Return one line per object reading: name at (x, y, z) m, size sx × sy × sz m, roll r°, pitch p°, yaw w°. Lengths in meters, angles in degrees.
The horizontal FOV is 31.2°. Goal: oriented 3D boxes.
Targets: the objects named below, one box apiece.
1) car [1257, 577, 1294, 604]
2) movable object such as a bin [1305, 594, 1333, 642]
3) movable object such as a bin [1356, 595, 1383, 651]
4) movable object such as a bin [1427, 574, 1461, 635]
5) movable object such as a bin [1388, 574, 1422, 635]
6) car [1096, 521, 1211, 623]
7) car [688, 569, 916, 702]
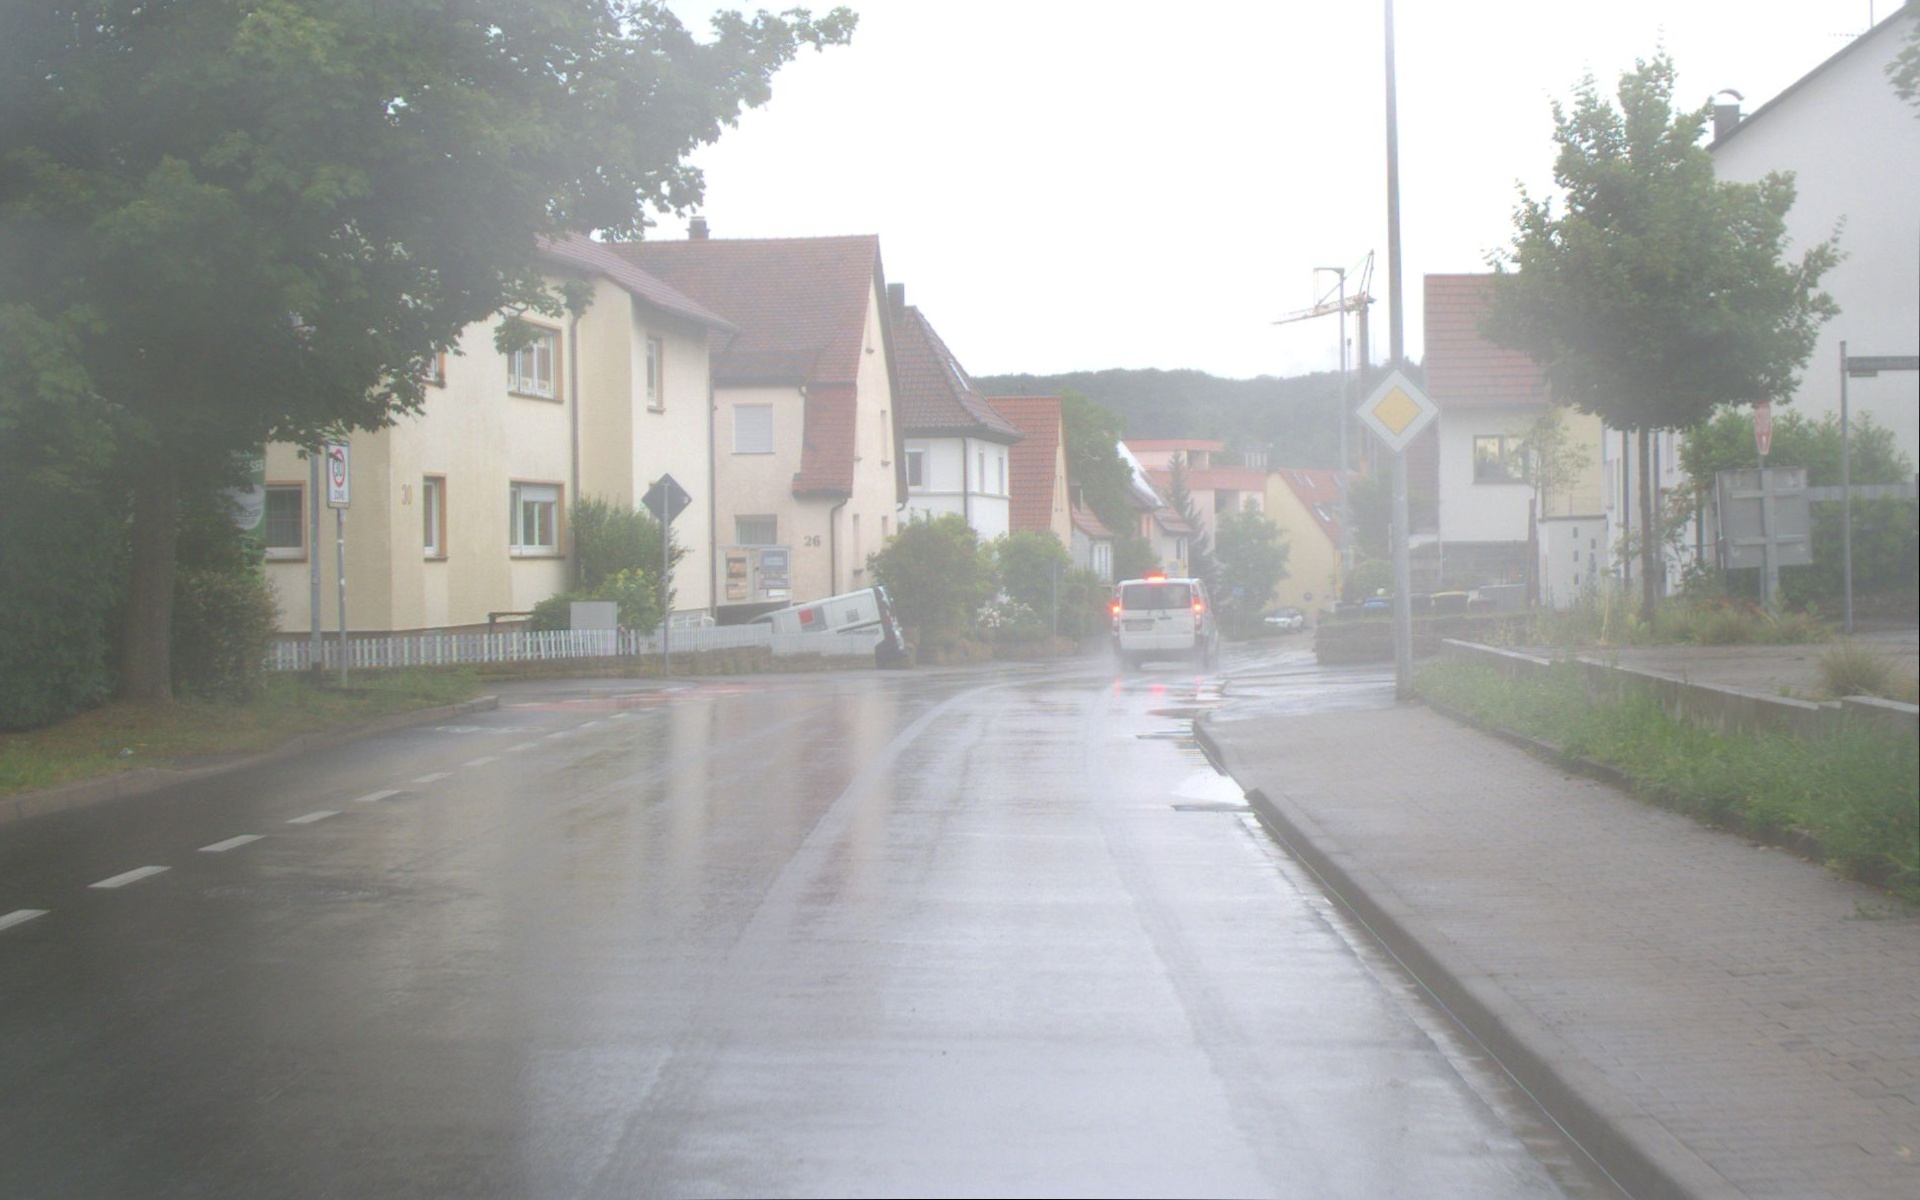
car at (20.141, -0.608, 219.308) m, size 1.843 × 1.573 × 4.287 m, roll 1°, pitch 2°, yaw 12°
movable object such as a bin at (9.955, 0.491, 95.315) m, size 0.745 × 1.274 × 0.882 m, roll -1°, pitch 2°, yaw 8°
movable object such as a bin at (7.098, 0.394, 59.591) m, size 0.425 × 0.937 × 0.508 m, roll 1°, pitch 2°, yaw 6°
movable object such as a bin at (8.372, 0.078, 59.482) m, size 0.528 × 1.024 × 0.631 m, roll 1°, pitch 2°, yaw 6°
movable object such as a bin at (7.697, 0.075, 59.521) m, size 0.544 × 1.024 × 0.631 m, roll 1°, pitch 2°, yaw 6°
car at (3.960, -0.596, 69.686) m, size 2.117 × 1.881 × 4.501 m, roll 1°, pitch 2°, yaw 6°
car at (-3.548, 0.793, 77.774) m, size 4.555 × 2.006 × 2.159 m, roll -12°, pitch 1°, yaw 7°
